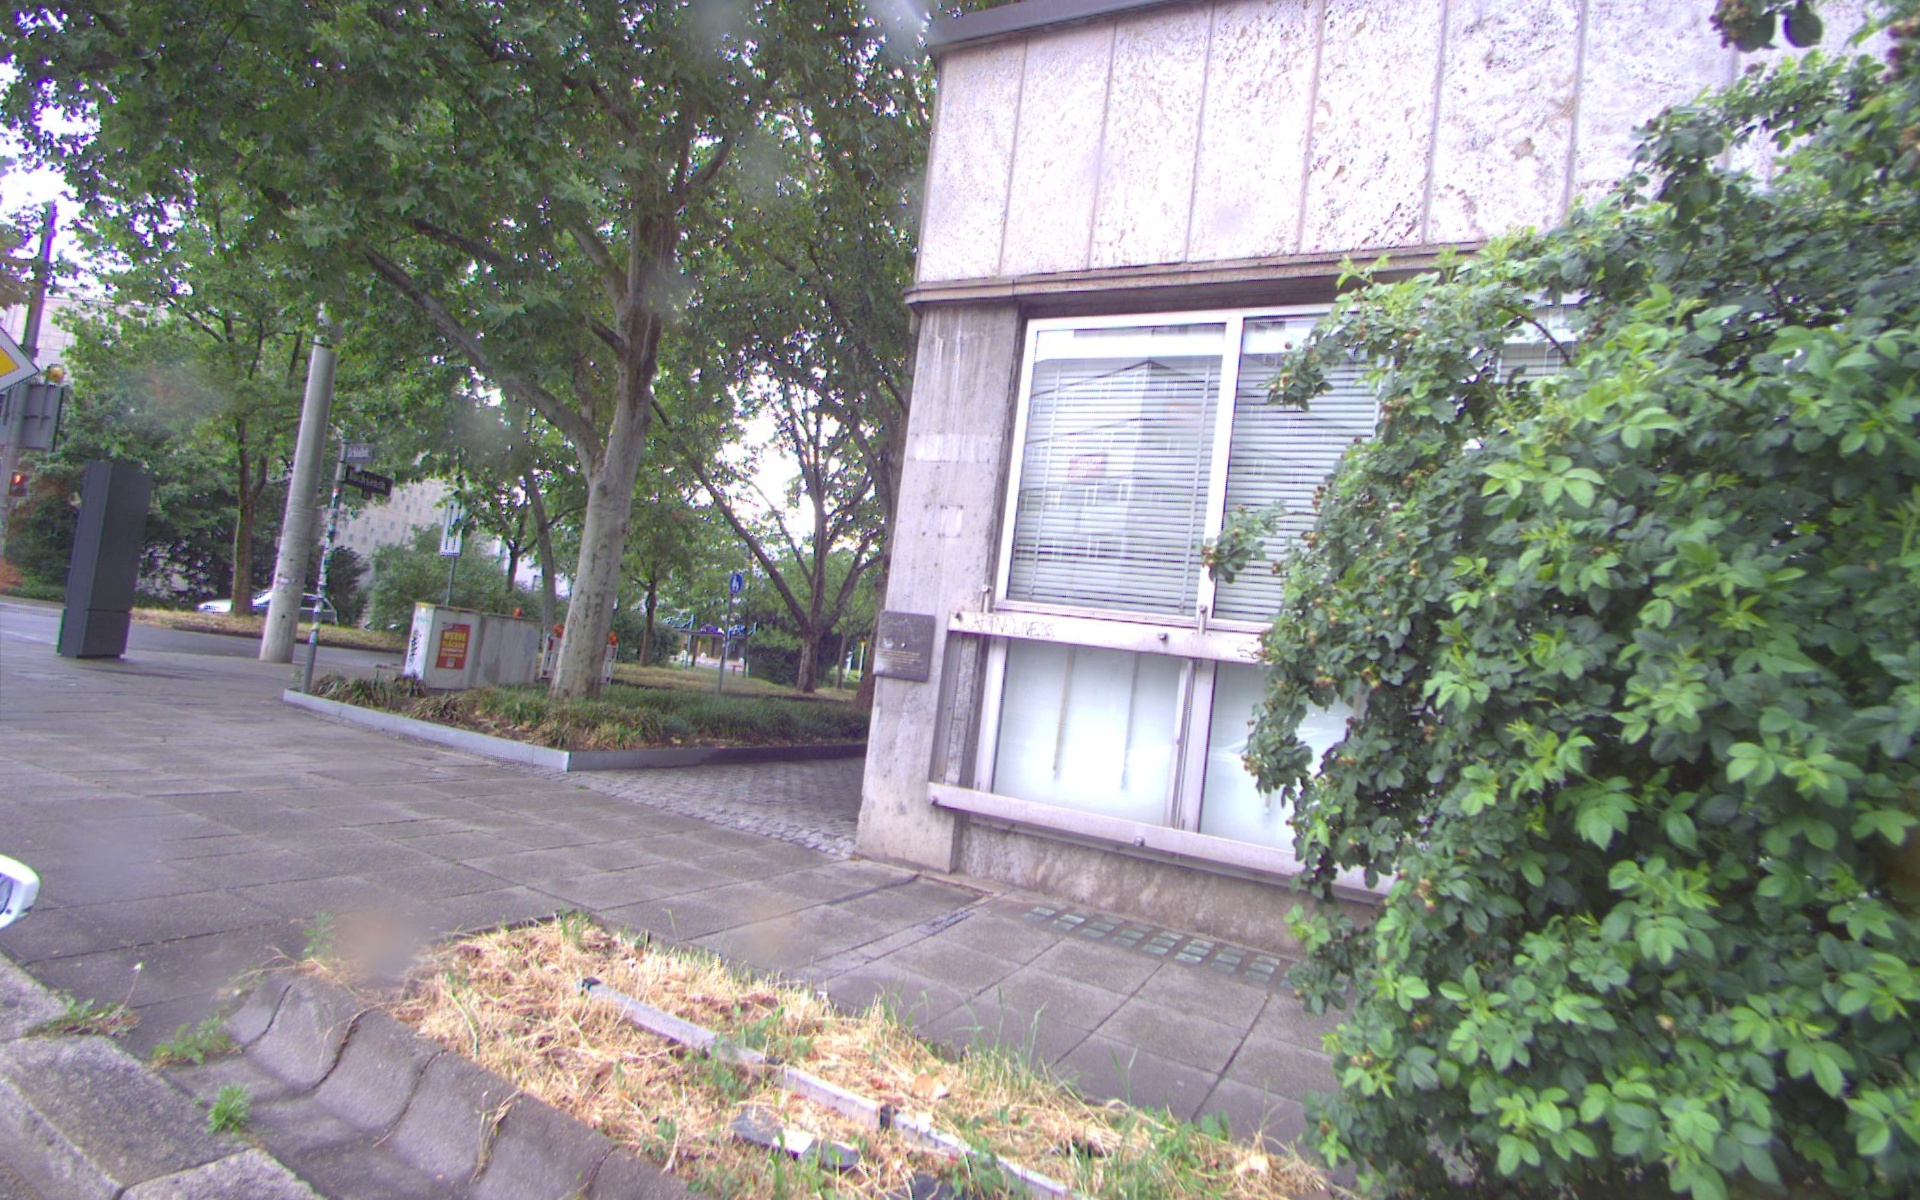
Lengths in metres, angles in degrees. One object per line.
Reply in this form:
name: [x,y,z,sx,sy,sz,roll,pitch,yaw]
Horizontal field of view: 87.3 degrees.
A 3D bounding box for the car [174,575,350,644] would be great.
car: [-22.038,0.362,31.927,1.964,1.456,4.007,6,-6,25]
